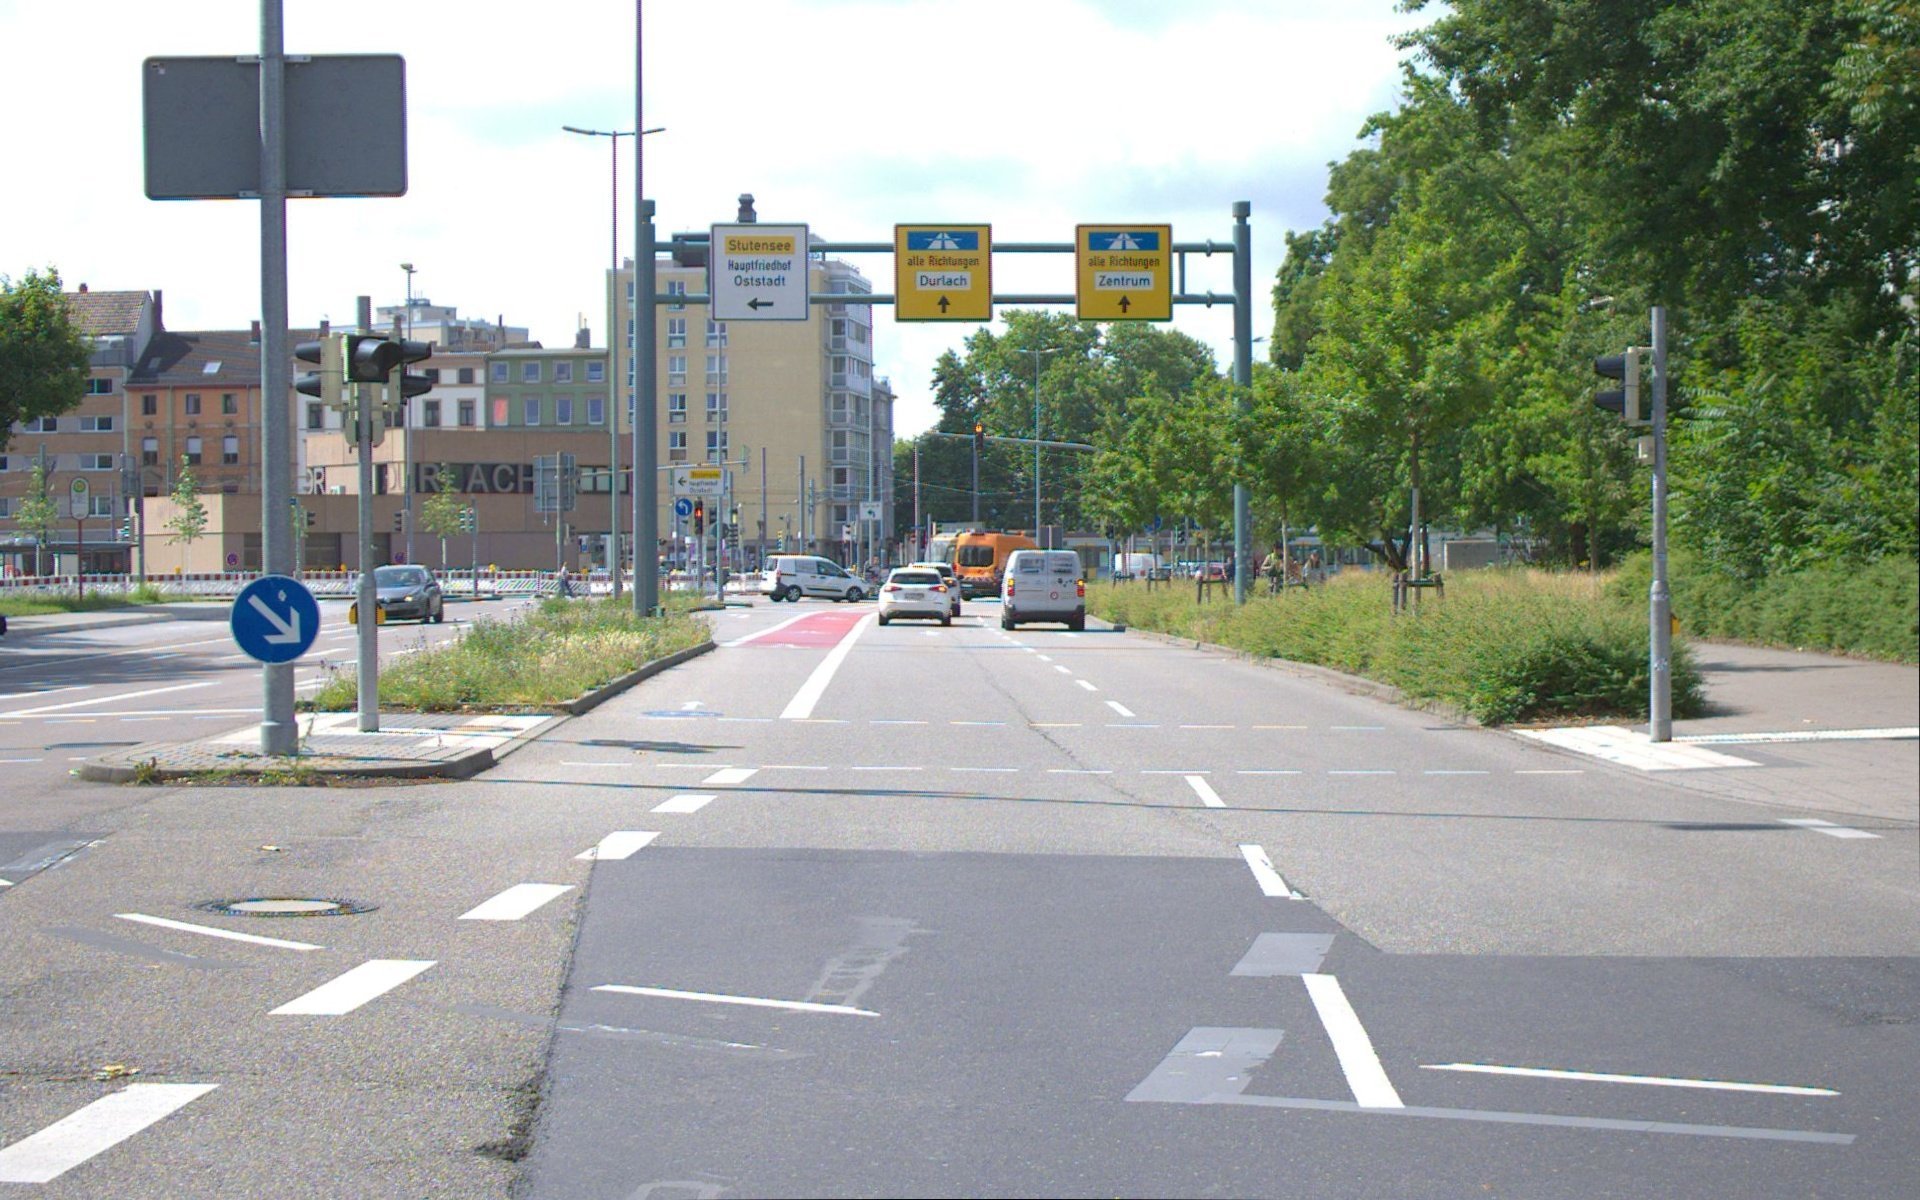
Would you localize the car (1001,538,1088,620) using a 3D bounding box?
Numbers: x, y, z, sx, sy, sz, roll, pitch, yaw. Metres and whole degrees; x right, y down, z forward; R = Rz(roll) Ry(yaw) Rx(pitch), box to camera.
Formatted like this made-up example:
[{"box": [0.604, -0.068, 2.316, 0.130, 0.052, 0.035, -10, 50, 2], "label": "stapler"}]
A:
[{"box": [1.977, -0.519, 81.570, 1.942, 1.863, 4.825, 0, 1, 0], "label": "car"}]

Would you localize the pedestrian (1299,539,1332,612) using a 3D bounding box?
[{"box": [7.672, -0.529, 74.259, 0.623, 1.575, 0.708, 0, 1, -1], "label": "pedestrian"}]

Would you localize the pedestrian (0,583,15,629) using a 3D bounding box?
[{"box": [-20.351, 0.133, 72.422, 0.694, 0.959, 0.743, 0, 1, -2], "label": "pedestrian"}]

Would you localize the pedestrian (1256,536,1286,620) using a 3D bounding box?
[{"box": [6.703, -0.482, 74.029, 0.567, 1.795, 0.639, 0, 1, -1], "label": "pedestrian"}]

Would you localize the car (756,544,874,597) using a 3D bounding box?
[{"box": [-5.478, -1.126, 129.971, 3.985, 1.809, 2.001, 3, 0, -19], "label": "car"}]

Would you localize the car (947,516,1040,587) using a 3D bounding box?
[{"box": [1.379, -1.962, 139.223, 2.132, 2.771, 4.633, -1, 0, 23], "label": "car"}]

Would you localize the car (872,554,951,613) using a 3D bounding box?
[{"box": [-1.186, -0.430, 85.967, 1.904, 1.419, 4.385, 0, 1, 0], "label": "car"}]

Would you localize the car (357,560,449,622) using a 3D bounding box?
[{"box": [-13.823, -0.238, 85.450, 1.700, 1.440, 4.146, -2, 1, -2], "label": "car"}]

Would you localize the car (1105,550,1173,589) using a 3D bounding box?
[{"box": [9.326, -1.584, 178.698, 2.008, 1.960, 4.633, -1, 0, 23], "label": "car"}]

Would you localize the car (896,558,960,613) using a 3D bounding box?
[{"box": [-0.912, -0.430, 100.186, 1.791, 1.534, 4.011, 1, 1, 0], "label": "car"}]
